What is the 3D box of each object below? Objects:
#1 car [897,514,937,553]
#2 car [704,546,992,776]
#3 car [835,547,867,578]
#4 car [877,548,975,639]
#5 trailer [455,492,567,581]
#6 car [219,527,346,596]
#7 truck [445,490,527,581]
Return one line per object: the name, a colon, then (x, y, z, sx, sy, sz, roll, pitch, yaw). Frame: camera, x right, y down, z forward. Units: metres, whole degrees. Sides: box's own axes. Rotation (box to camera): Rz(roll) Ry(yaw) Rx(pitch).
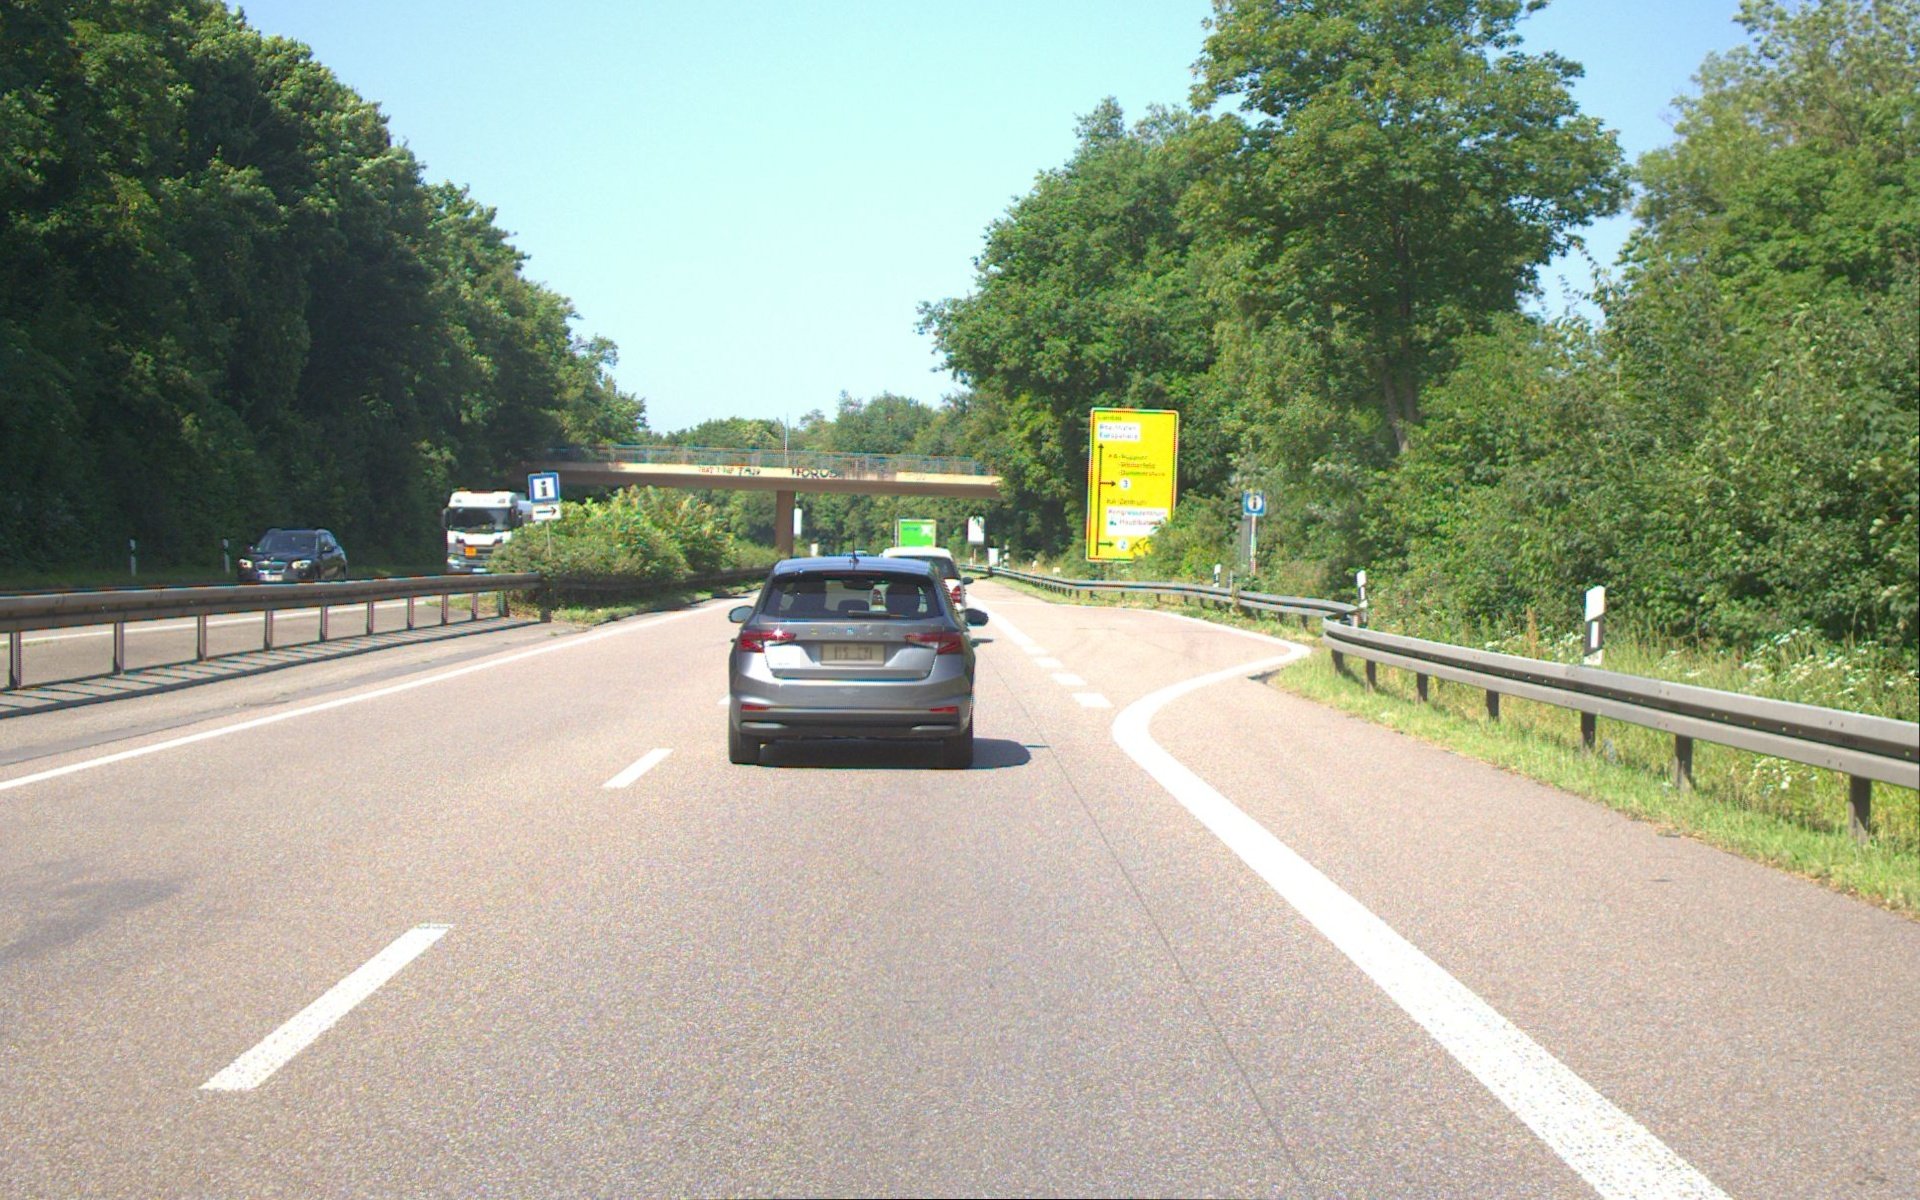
car: (-3.019, -4.659, 241.413, 2.748, 2.645, 4.000, 1, 1, 0)
car: (-0.725, 0.372, 24.526, 1.840, 1.467, 3.623, 1, 1, 1)
car: (-7.304, -2.539, 231.094, 1.993, 2.007, 4.000, 1, 1, 0)
car: (-0.547, -0.135, 57.670, 1.522, 1.442, 3.340, 1, 1, 1)
trailer: (-17.378, -2.405, 133.937, 2.492, 3.224, 14.432, 1, 1, 0)
car: (-15.504, -0.879, 78.900, 1.842, 1.505, 4.551, 1, 1, 2)
truck: (-17.423, -2.356, 126.496, 2.425, 3.247, 4.000, 1, 1, 0)
